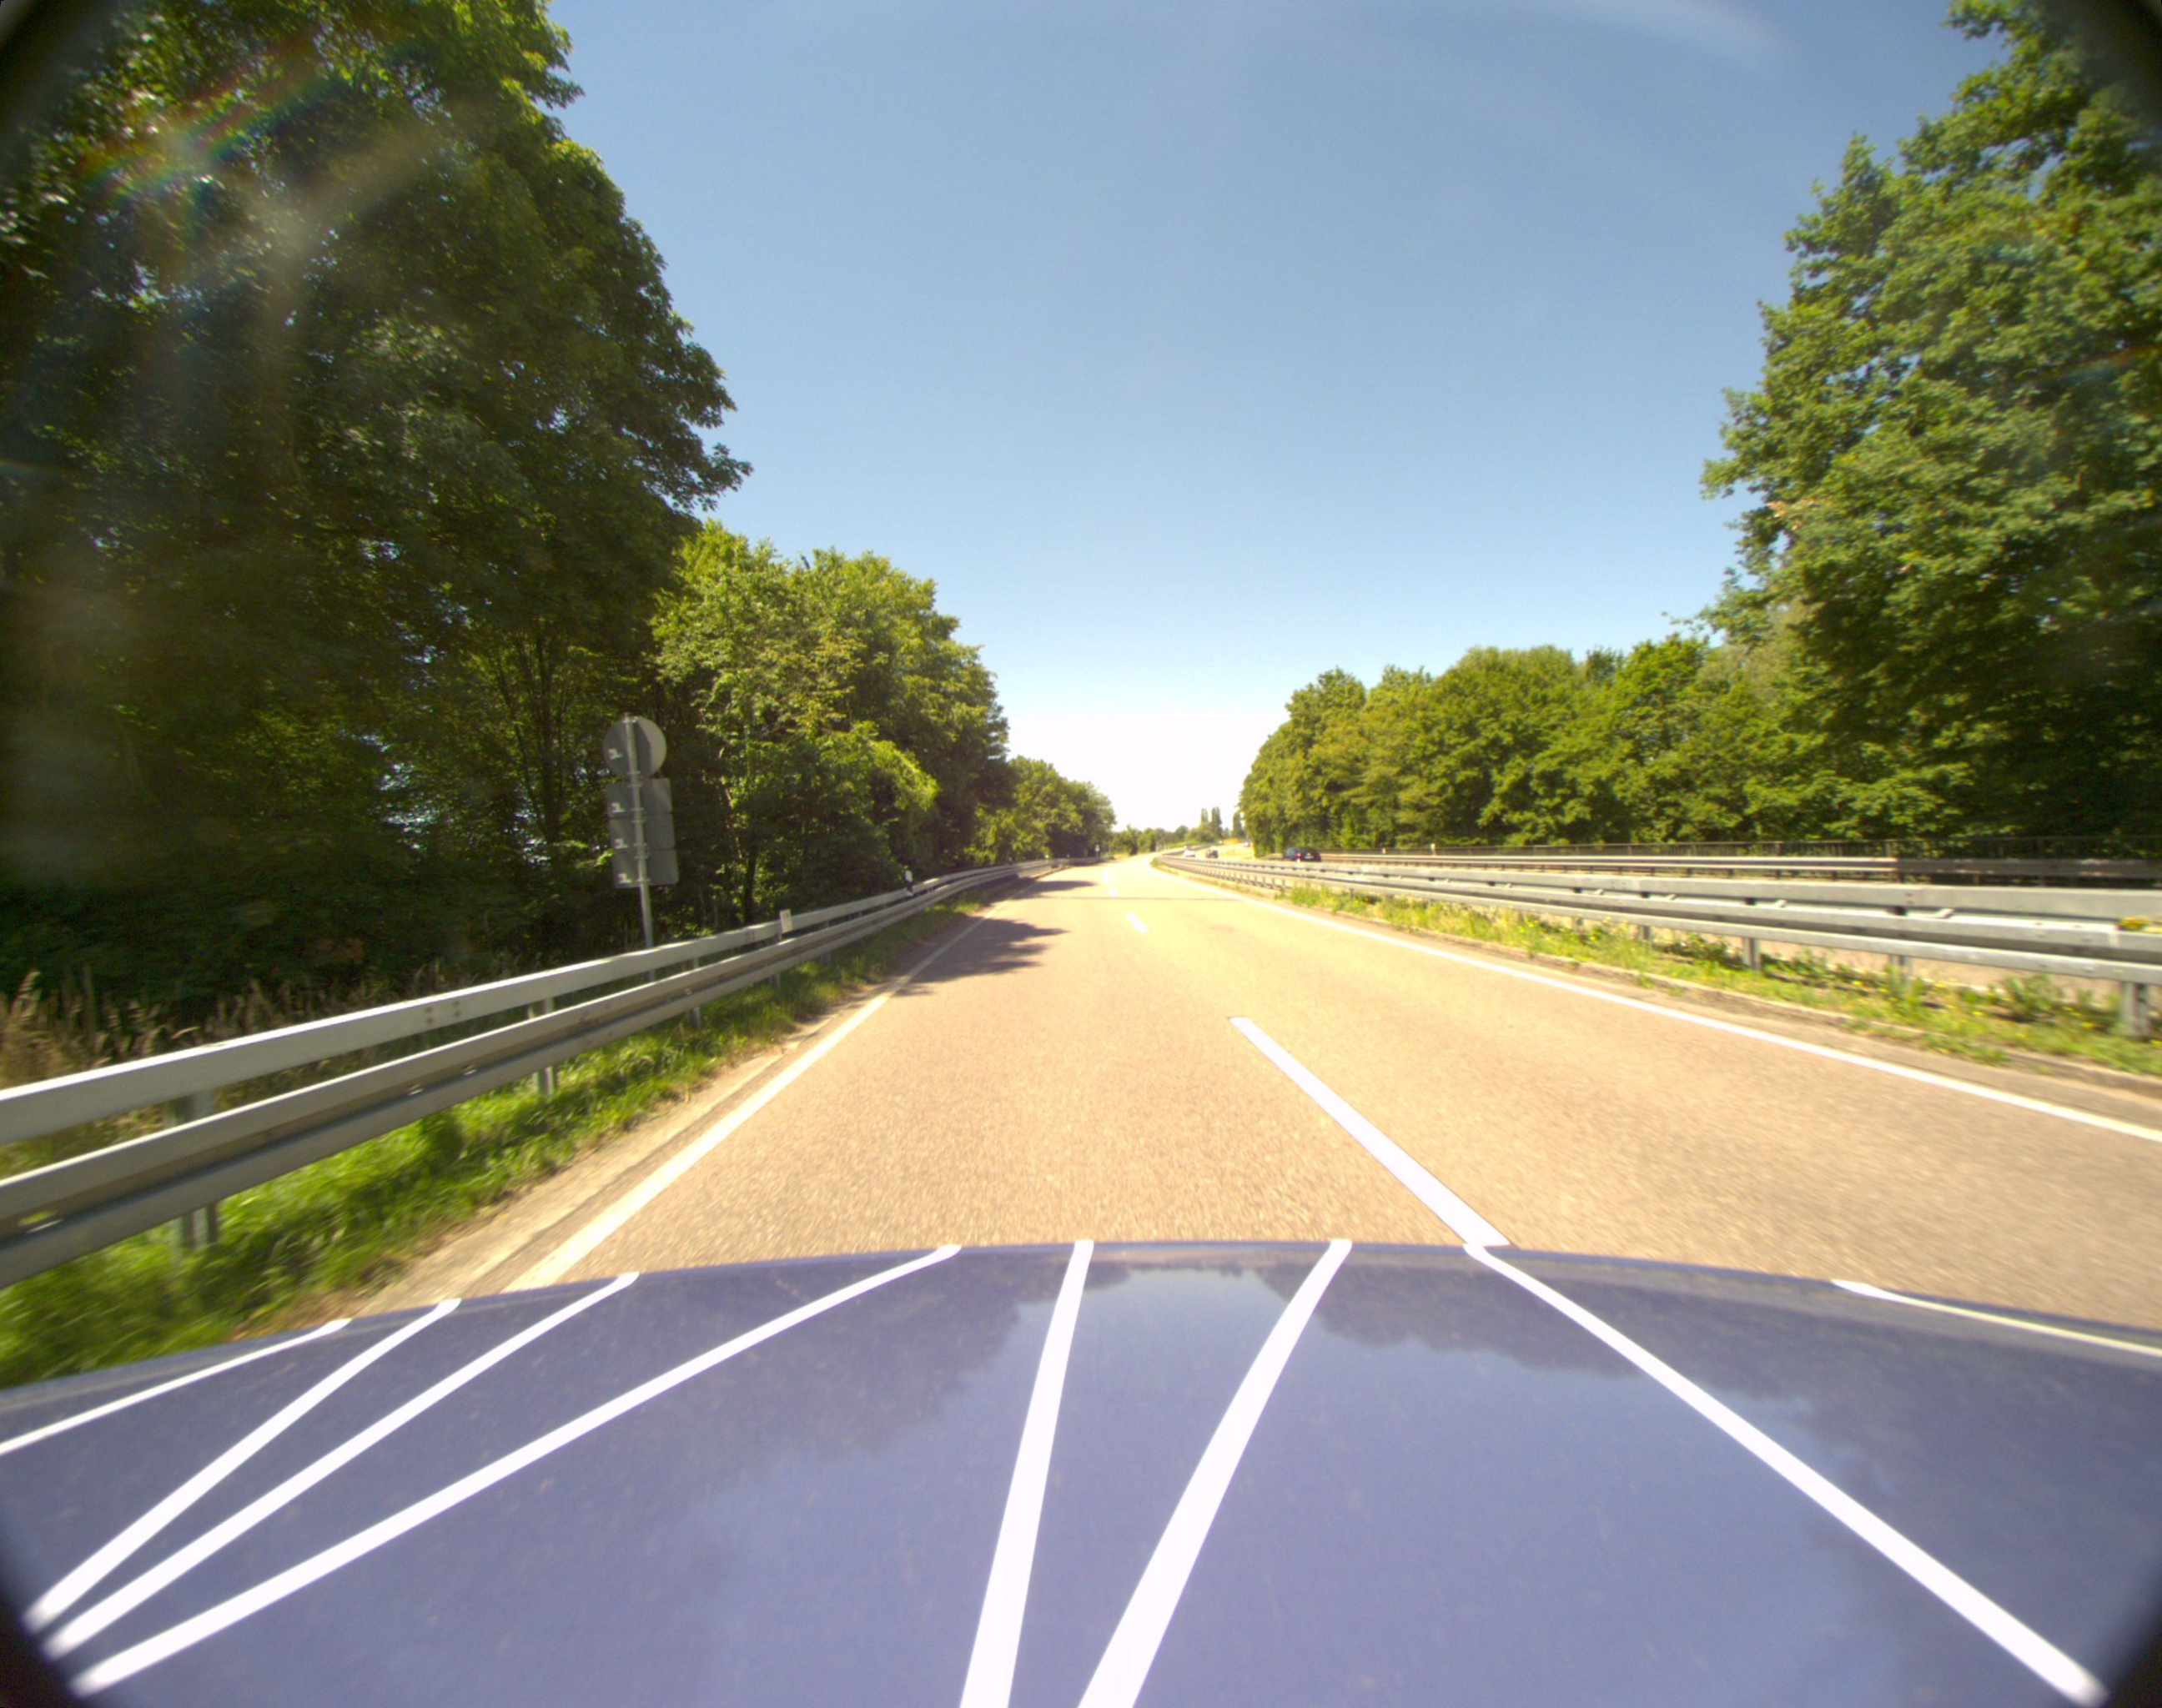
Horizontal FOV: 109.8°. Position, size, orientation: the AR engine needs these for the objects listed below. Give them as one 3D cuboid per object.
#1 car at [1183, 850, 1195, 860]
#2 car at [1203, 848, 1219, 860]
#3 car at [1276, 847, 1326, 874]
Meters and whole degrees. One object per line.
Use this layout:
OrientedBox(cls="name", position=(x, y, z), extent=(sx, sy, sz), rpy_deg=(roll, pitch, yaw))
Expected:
OrientedBox(cls="car", position=(18.491, 0.216, 130.113), extent=(1.655, 1.597, 4.220), rpy_deg=(-2, 0, 3))
OrientedBox(cls="car", position=(18.315, -0.020, 107.237), extent=(1.655, 1.519, 3.998), rpy_deg=(-2, 0, 1))
OrientedBox(cls="car", position=(13.599, 0.357, 47.235), extent=(1.760, 1.519, 4.684), rpy_deg=(-2, 0, 1))
